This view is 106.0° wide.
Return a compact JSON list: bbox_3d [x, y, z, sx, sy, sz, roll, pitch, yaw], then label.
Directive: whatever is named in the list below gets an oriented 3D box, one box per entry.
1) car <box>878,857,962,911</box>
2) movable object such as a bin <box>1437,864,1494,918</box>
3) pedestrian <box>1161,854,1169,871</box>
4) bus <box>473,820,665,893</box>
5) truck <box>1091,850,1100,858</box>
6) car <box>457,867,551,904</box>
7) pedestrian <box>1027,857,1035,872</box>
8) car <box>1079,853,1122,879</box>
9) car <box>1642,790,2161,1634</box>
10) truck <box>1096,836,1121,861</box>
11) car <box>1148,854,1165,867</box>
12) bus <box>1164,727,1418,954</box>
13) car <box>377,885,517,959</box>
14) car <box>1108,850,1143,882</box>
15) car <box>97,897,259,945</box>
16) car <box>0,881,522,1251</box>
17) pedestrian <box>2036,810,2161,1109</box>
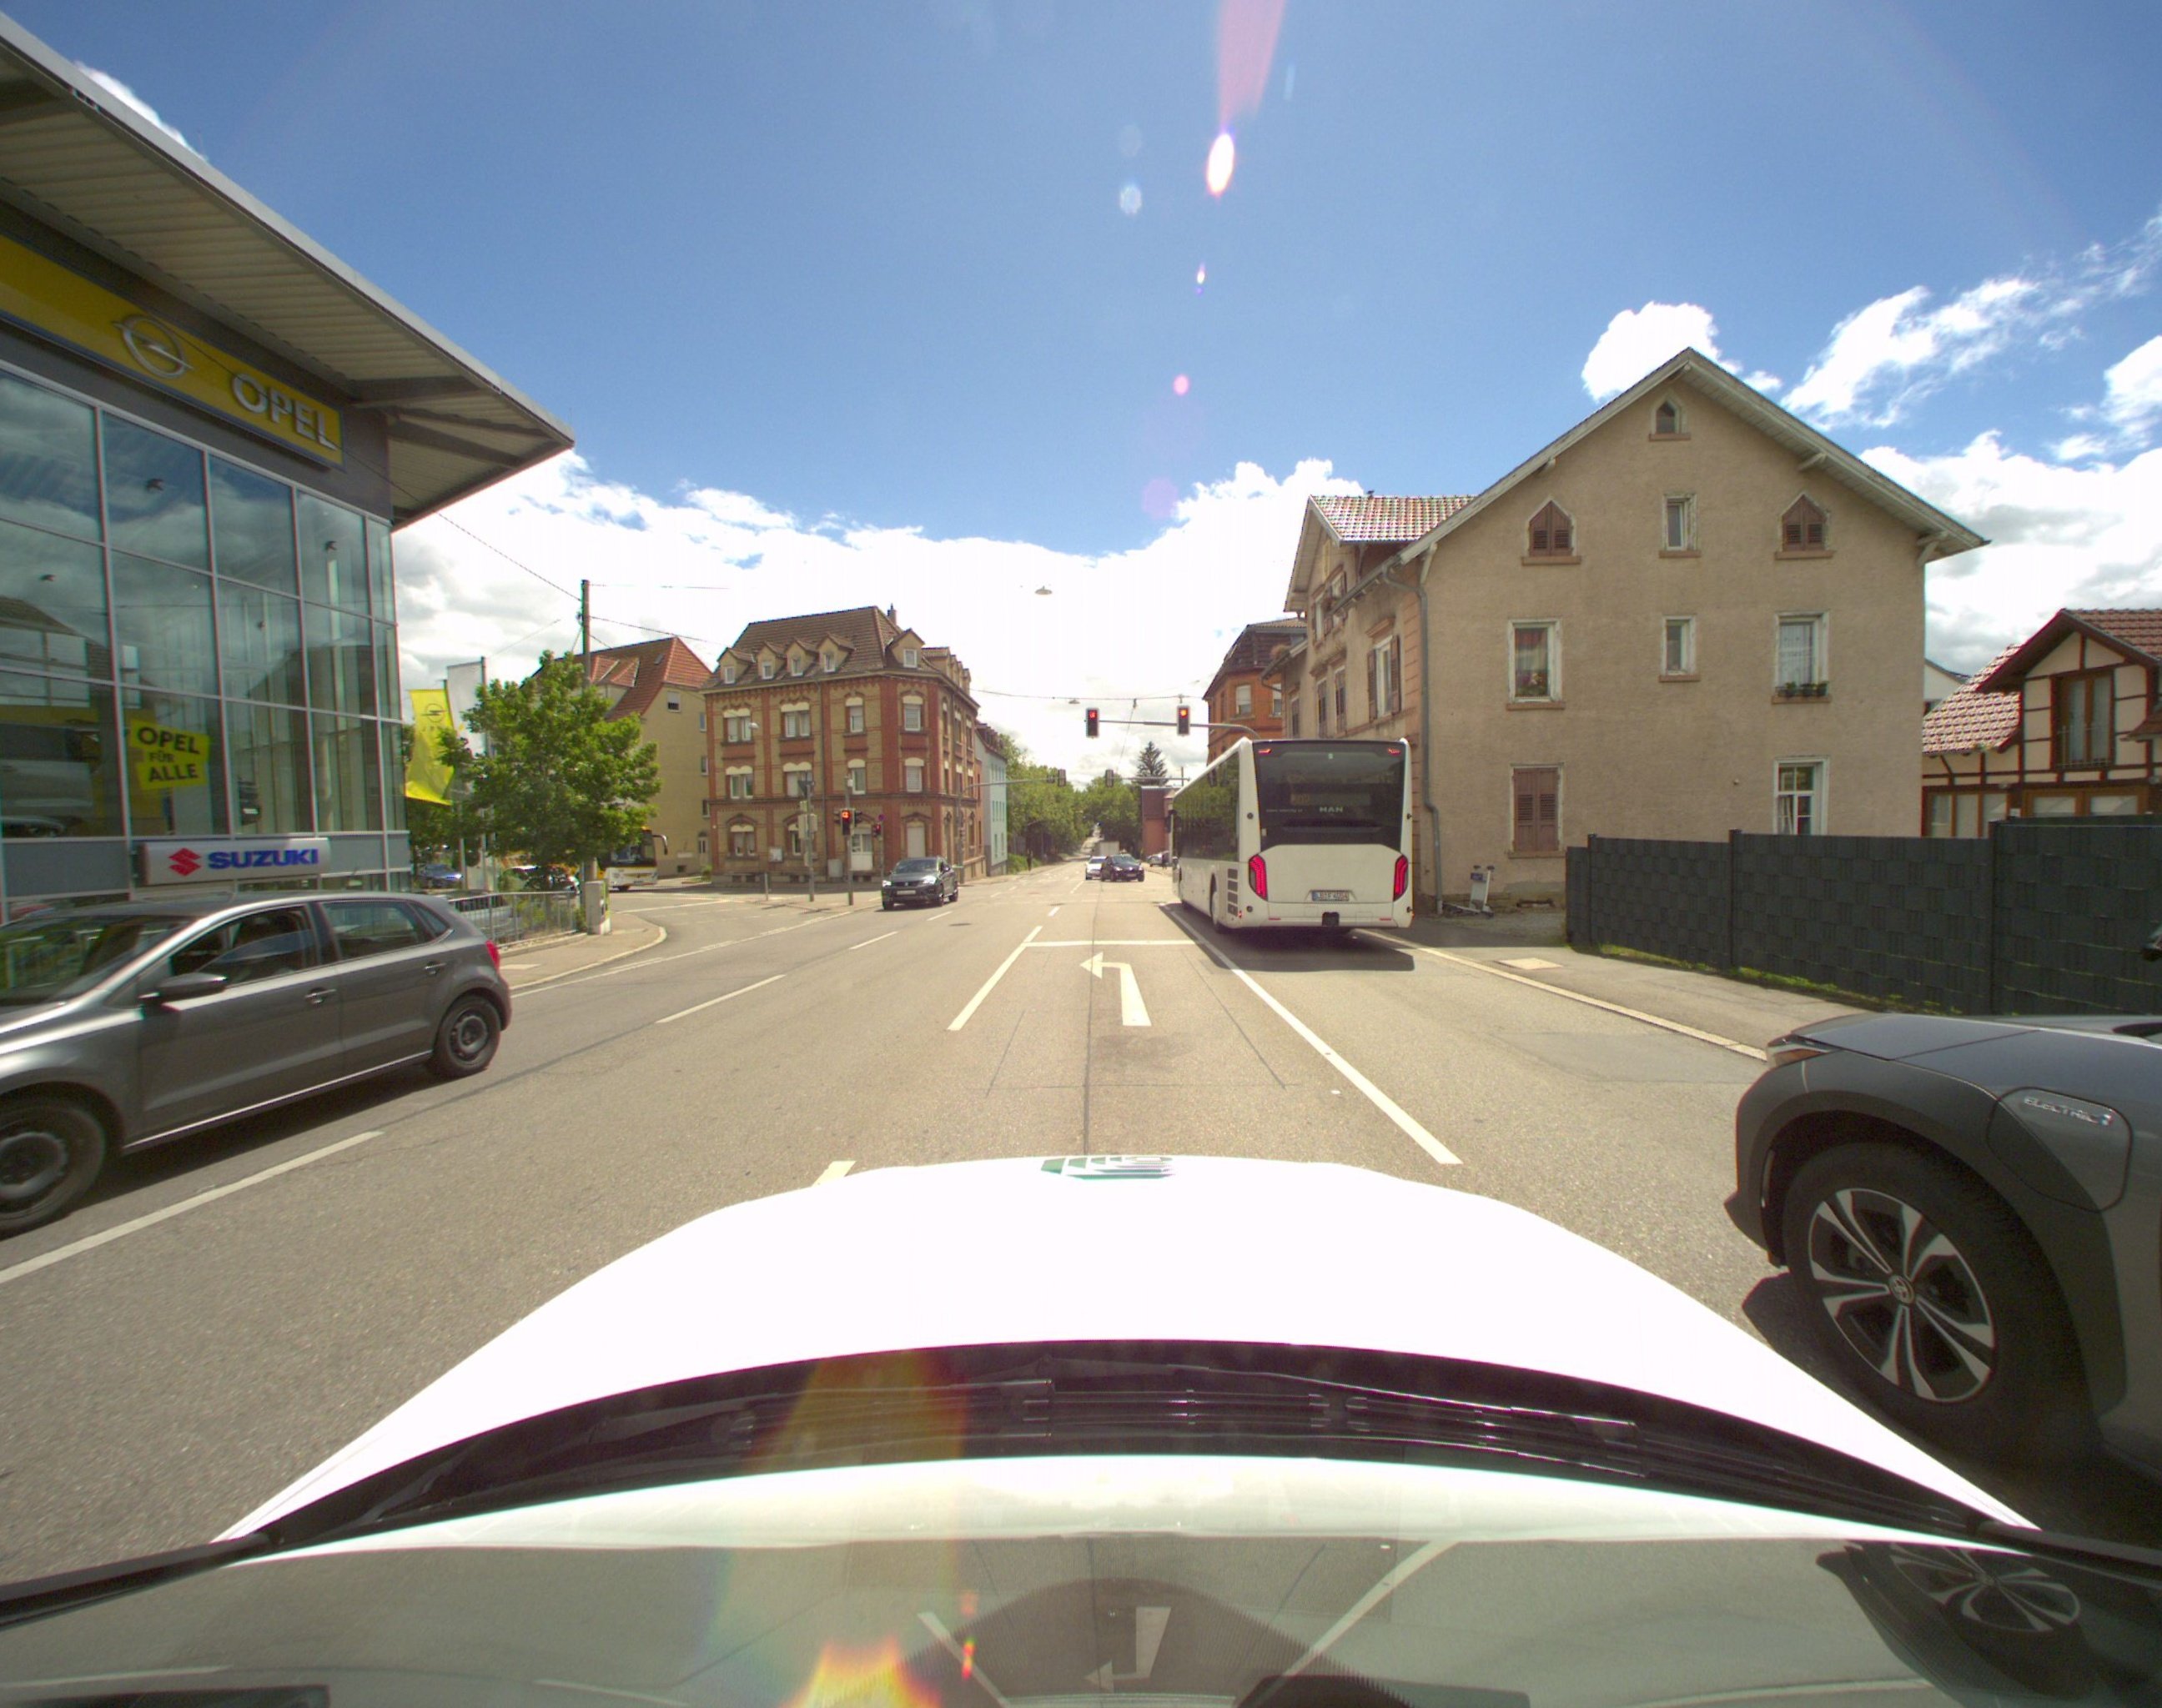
[{"bbox_3d":[-5.123,0.896,26.384,1.752,1.522,3.959,-2,0,2],"label":"car"},{"bbox_3d":[7.725,0.728,16.380,0.773,1.012,0.749,-2,0,1],"label":"movable object such as a bin"},{"bbox_3d":[8.822,0.868,85.781,0.736,1.750,0.619,-2,0,1],"label":"pedestrian"},{"bbox_3d":[-27.797,0.067,43.956,12.111,3.621,2.788,0,1,26],"label":"bus"},{"bbox_3d":[3.499,0.061,197.877,1.986,2.014,4.001,-1,0,2],"label":"truck"},{"bbox_3d":[-27.163,1.490,38.309,4.251,1.552,1.845,-3,-2,28],"label":"car"},{"bbox_3d":[-5.519,1.128,89.578,0.727,1.565,0.561,-2,0,0],"label":"pedestrian"},{"bbox_3d":[1.241,0.700,50.275,1.686,1.427,4.017,-2,0,15],"label":"car"},{"bbox_3d":[2.997,0.694,0.706,1.912,1.613,4.685,0,1,2],"label":"car"},{"bbox_3d":[3.561,-0.700,108.206,2.917,3.081,7.883,-2,0,-1],"label":"truck"},{"bbox_3d":[9.386,0.808,101.631,1.788,1.409,4.000,-2,0,1],"label":"car"},{"bbox_3d":[3.632,-0.225,17.889,2.662,3.155,12.467,-2,0,2],"label":"bus"},{"bbox_3d":[-16.012,1.638,20.555,3.321,1.560,1.693,0,2,32],"label":"car"},{"bbox_3d":[2.348,0.608,43.780,1.752,1.516,3.795,-2,0,2],"label":"car"},{"bbox_3d":[-36.492,2.657,33.045,1.785,1.553,4.023,-2,0,25],"label":"car"},{"bbox_3d":[-5.393,0.996,4.577,1.752,1.413,3.735,-4,0,2],"label":"car"},{"bbox_3d":[6.052,0.538,4.410,0.856,1.562,0.712,-2,0,1],"label":"pedestrian"}]
